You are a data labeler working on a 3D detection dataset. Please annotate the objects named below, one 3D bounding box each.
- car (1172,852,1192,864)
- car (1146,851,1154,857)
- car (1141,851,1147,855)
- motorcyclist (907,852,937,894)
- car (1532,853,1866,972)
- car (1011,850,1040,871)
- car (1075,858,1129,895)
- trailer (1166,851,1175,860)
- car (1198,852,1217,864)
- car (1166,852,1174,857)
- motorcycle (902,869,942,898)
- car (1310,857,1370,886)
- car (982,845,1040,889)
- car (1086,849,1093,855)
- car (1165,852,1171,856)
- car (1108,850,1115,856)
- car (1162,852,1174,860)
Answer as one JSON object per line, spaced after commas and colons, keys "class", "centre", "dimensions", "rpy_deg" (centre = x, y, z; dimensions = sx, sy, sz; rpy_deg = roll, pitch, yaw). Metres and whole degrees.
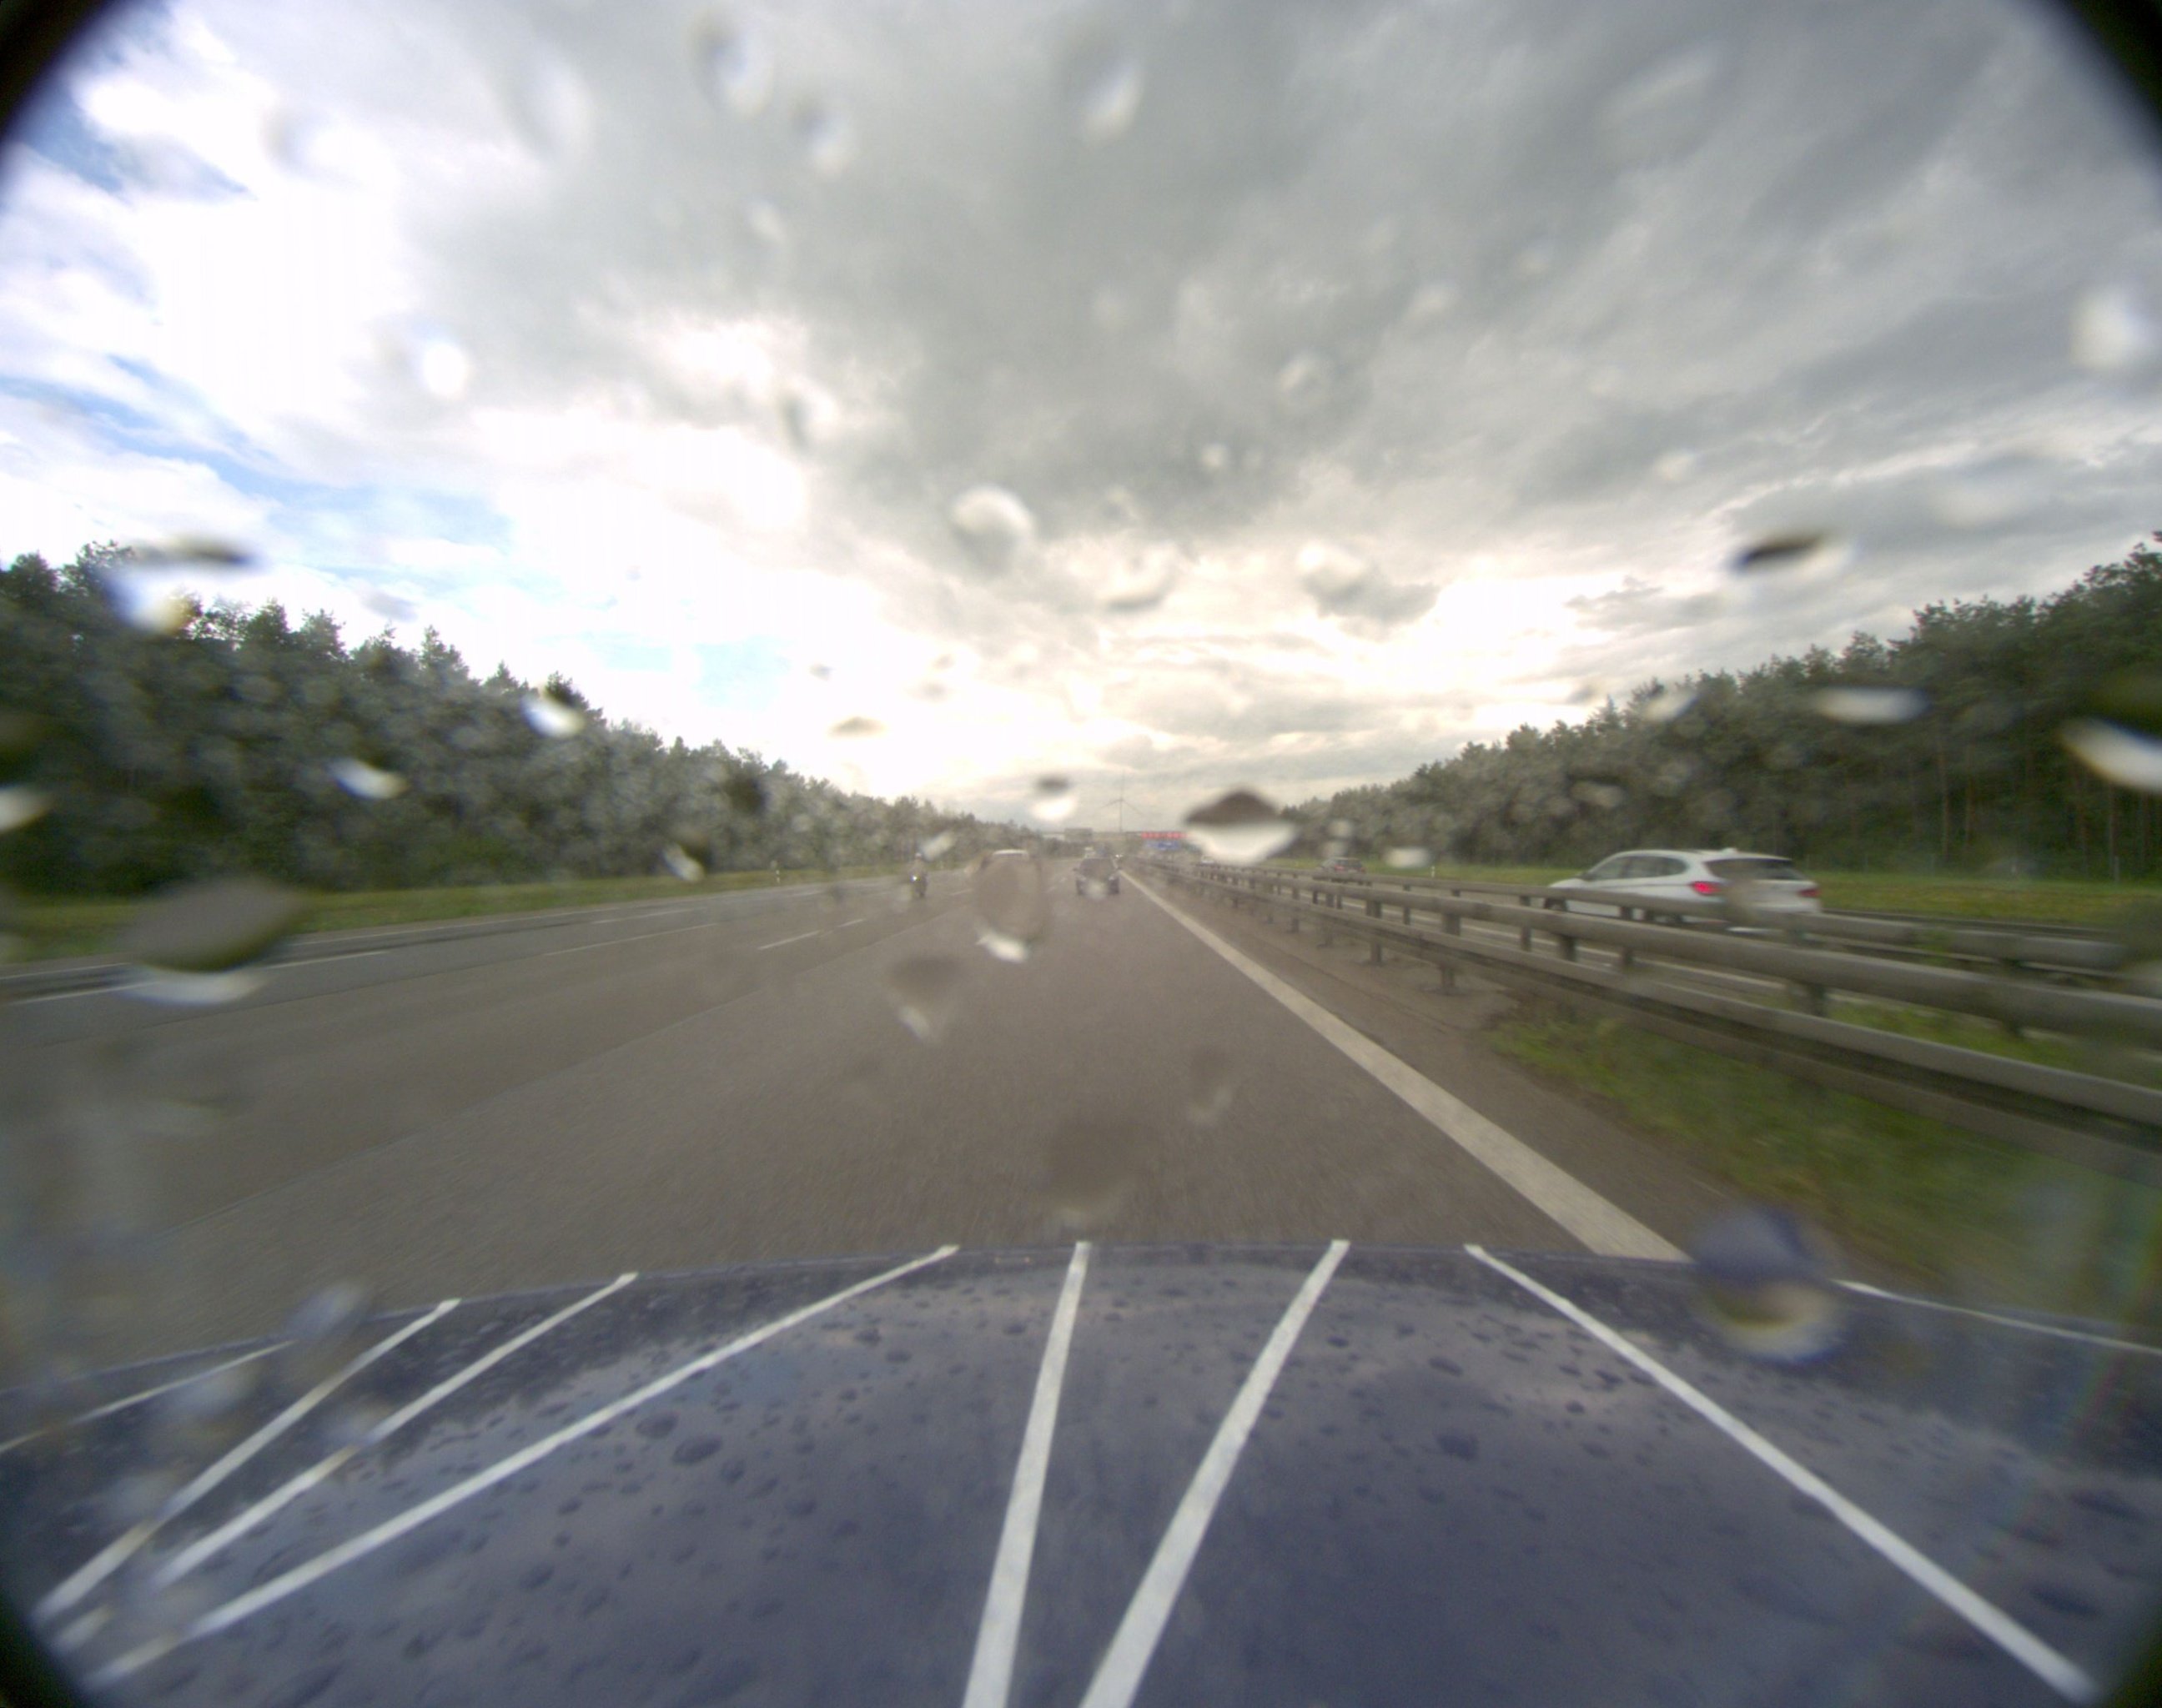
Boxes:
{"class": "car", "centre": [11.806, 0.462, 89.058], "dimensions": [1.732, 1.381, 4.092], "rpy_deg": [1, 0, 0]}
{"class": "car", "centre": [17.157, -0.064, 189.382], "dimensions": [1.789, 1.538, 4.403], "rpy_deg": [1, 0, 1]}
{"class": "car", "centre": [19.467, -0.338, 236.213], "dimensions": [1.697, 1.368, 4.000], "rpy_deg": [-1, 0, 2]}
{"class": "motorcyclist", "centre": [-6.221, 0.741, 29.756], "dimensions": [0.893, 1.605, 0.959], "rpy_deg": [-1, 1, 3]}
{"class": "car", "centre": [9.656, 0.787, 12.482], "dimensions": [1.864, 1.579, 4.490], "rpy_deg": [0, 0, 1]}
{"class": "car", "centre": [-5.587, 0.647, 77.376], "dimensions": [1.998, 2.002, 5.485], "rpy_deg": [-2, 0, 6]}
{"class": "car", "centre": [0.920, 0.862, 30.473], "dimensions": [1.809, 1.321, 4.433], "rpy_deg": [0, 0, 6]}
{"class": "trailer", "centre": [17.234, 0.279, 146.403], "dimensions": [1.484, 1.663, 3.208], "rpy_deg": [1, 1, 0]}
{"class": "car", "centre": [15.465, 0.498, 92.975], "dimensions": [1.732, 1.472, 3.999], "rpy_deg": [0, 0, 0]}
{"class": "car", "centre": [25.124, 0.150, 215.227], "dimensions": [1.904, 1.539, 4.513], "rpy_deg": [2, 0, 2]}
{"class": "motorcycle", "centre": [-6.198, 1.152, 29.752], "dimensions": [1.002, 1.025, 2.174], "rpy_deg": [-1, 0, 3]}
{"class": "car", "centre": [14.138, 0.897, 41.696], "dimensions": [1.816, 1.414, 4.236], "rpy_deg": [2, 1, 1]}
{"class": "car", "centre": [-3.251, 0.568, 36.299], "dimensions": [1.968, 1.890, 4.882], "rpy_deg": [-1, 0, 4]}
{"class": "car", "centre": [2.792, -0.587, 251.510], "dimensions": [1.998, 2.002, 4.001], "rpy_deg": [0, 0, 3]}
{"class": "car", "centre": [29.345, 0.103, 257.061], "dimensions": [1.728, 1.388, 4.184], "rpy_deg": [2, 0, 2]}
{"class": "car", "centre": [8.975, -0.338, 226.039], "dimensions": [1.832, 1.838, 3.999], "rpy_deg": [-2, 0, -1]}
{"class": "car", "centre": [17.167, 0.399, 150.310], "dimensions": [1.833, 1.412, 4.572], "rpy_deg": [1, 0, 0]}
